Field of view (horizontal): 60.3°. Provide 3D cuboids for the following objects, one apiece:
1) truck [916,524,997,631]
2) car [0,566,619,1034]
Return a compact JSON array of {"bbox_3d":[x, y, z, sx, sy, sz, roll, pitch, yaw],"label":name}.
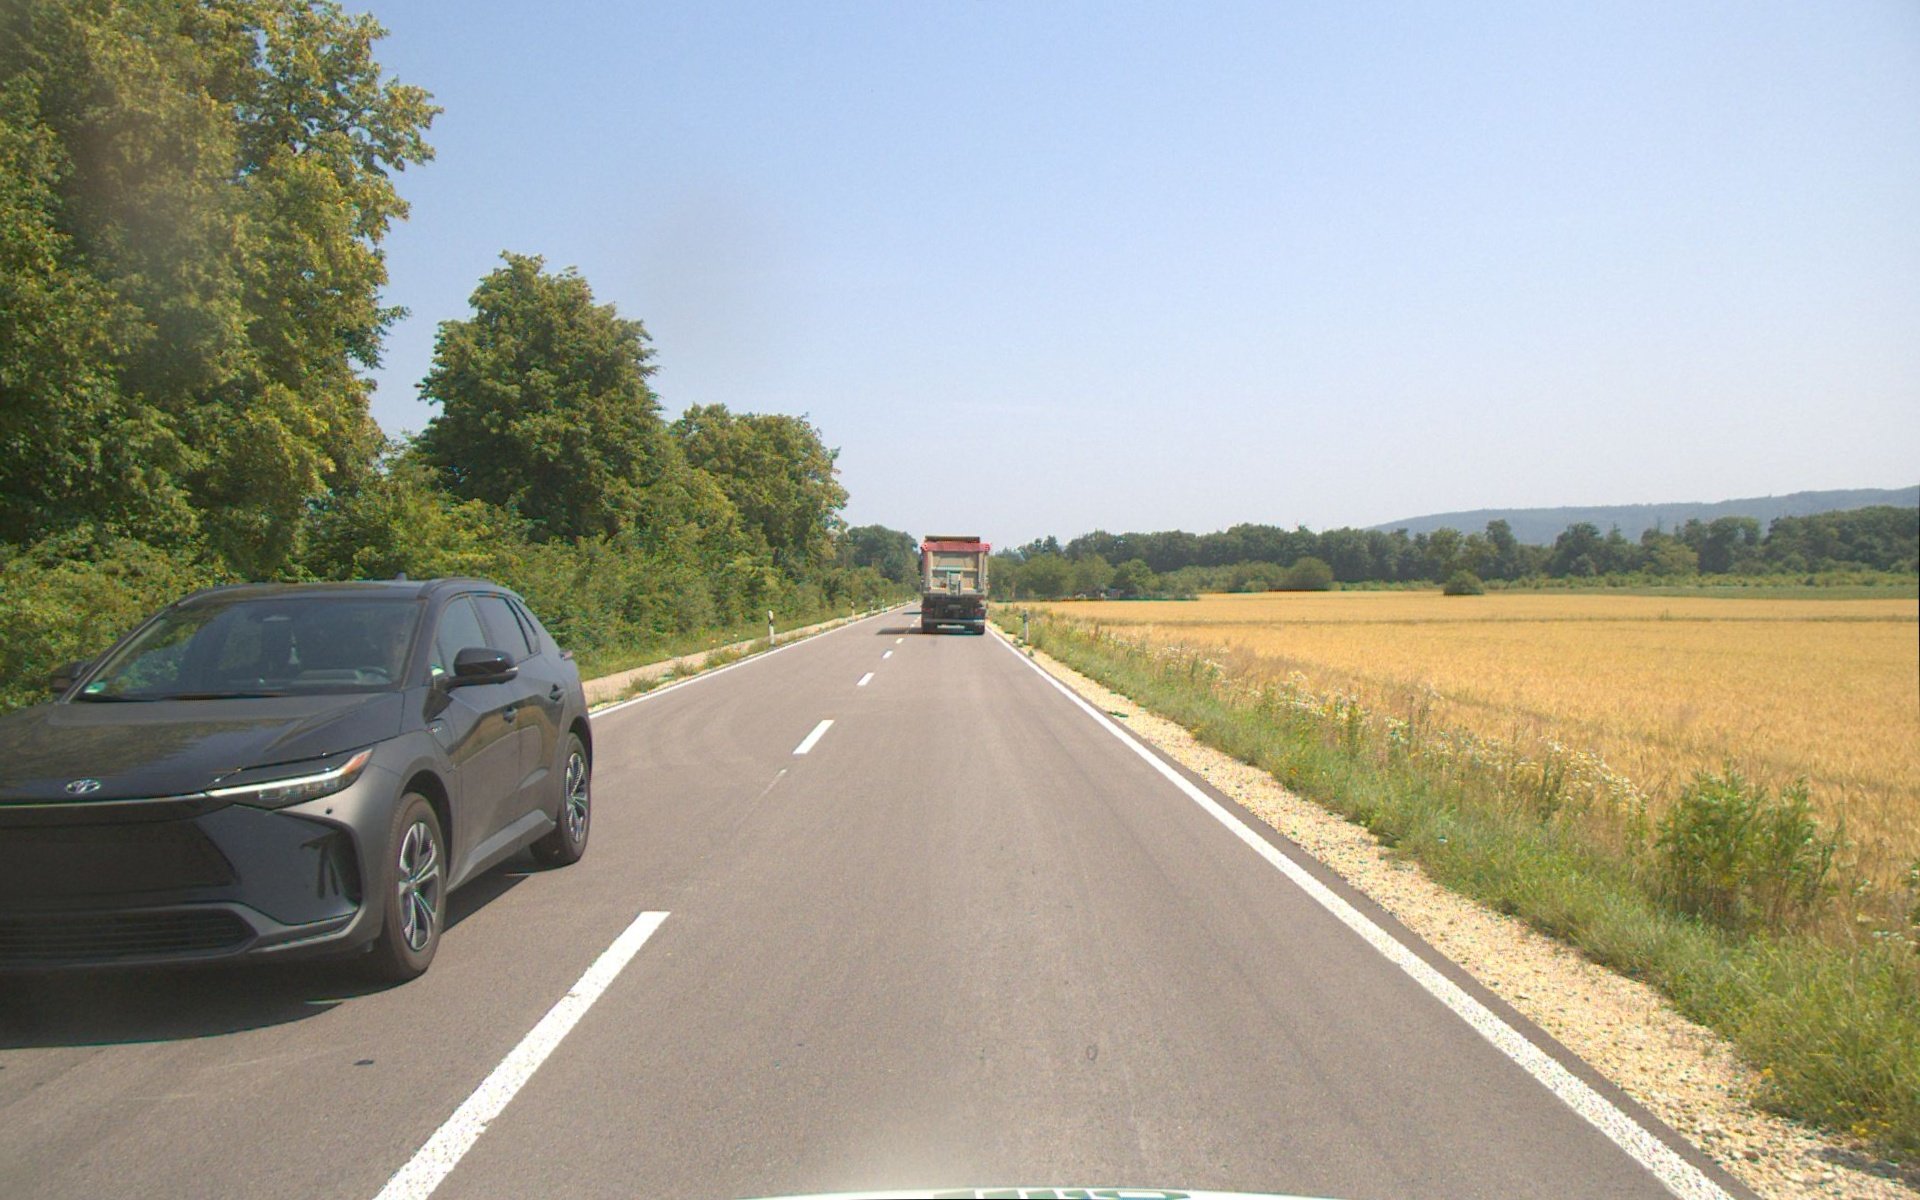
[{"bbox_3d":[-0.193,-0.805,67.788,2.948,3.942,12.207,1,0,-1],"label":"truck"},{"bbox_3d":[-2.985,0.694,8.036,1.756,1.601,4.478,-2,0,-1],"label":"car"}]
